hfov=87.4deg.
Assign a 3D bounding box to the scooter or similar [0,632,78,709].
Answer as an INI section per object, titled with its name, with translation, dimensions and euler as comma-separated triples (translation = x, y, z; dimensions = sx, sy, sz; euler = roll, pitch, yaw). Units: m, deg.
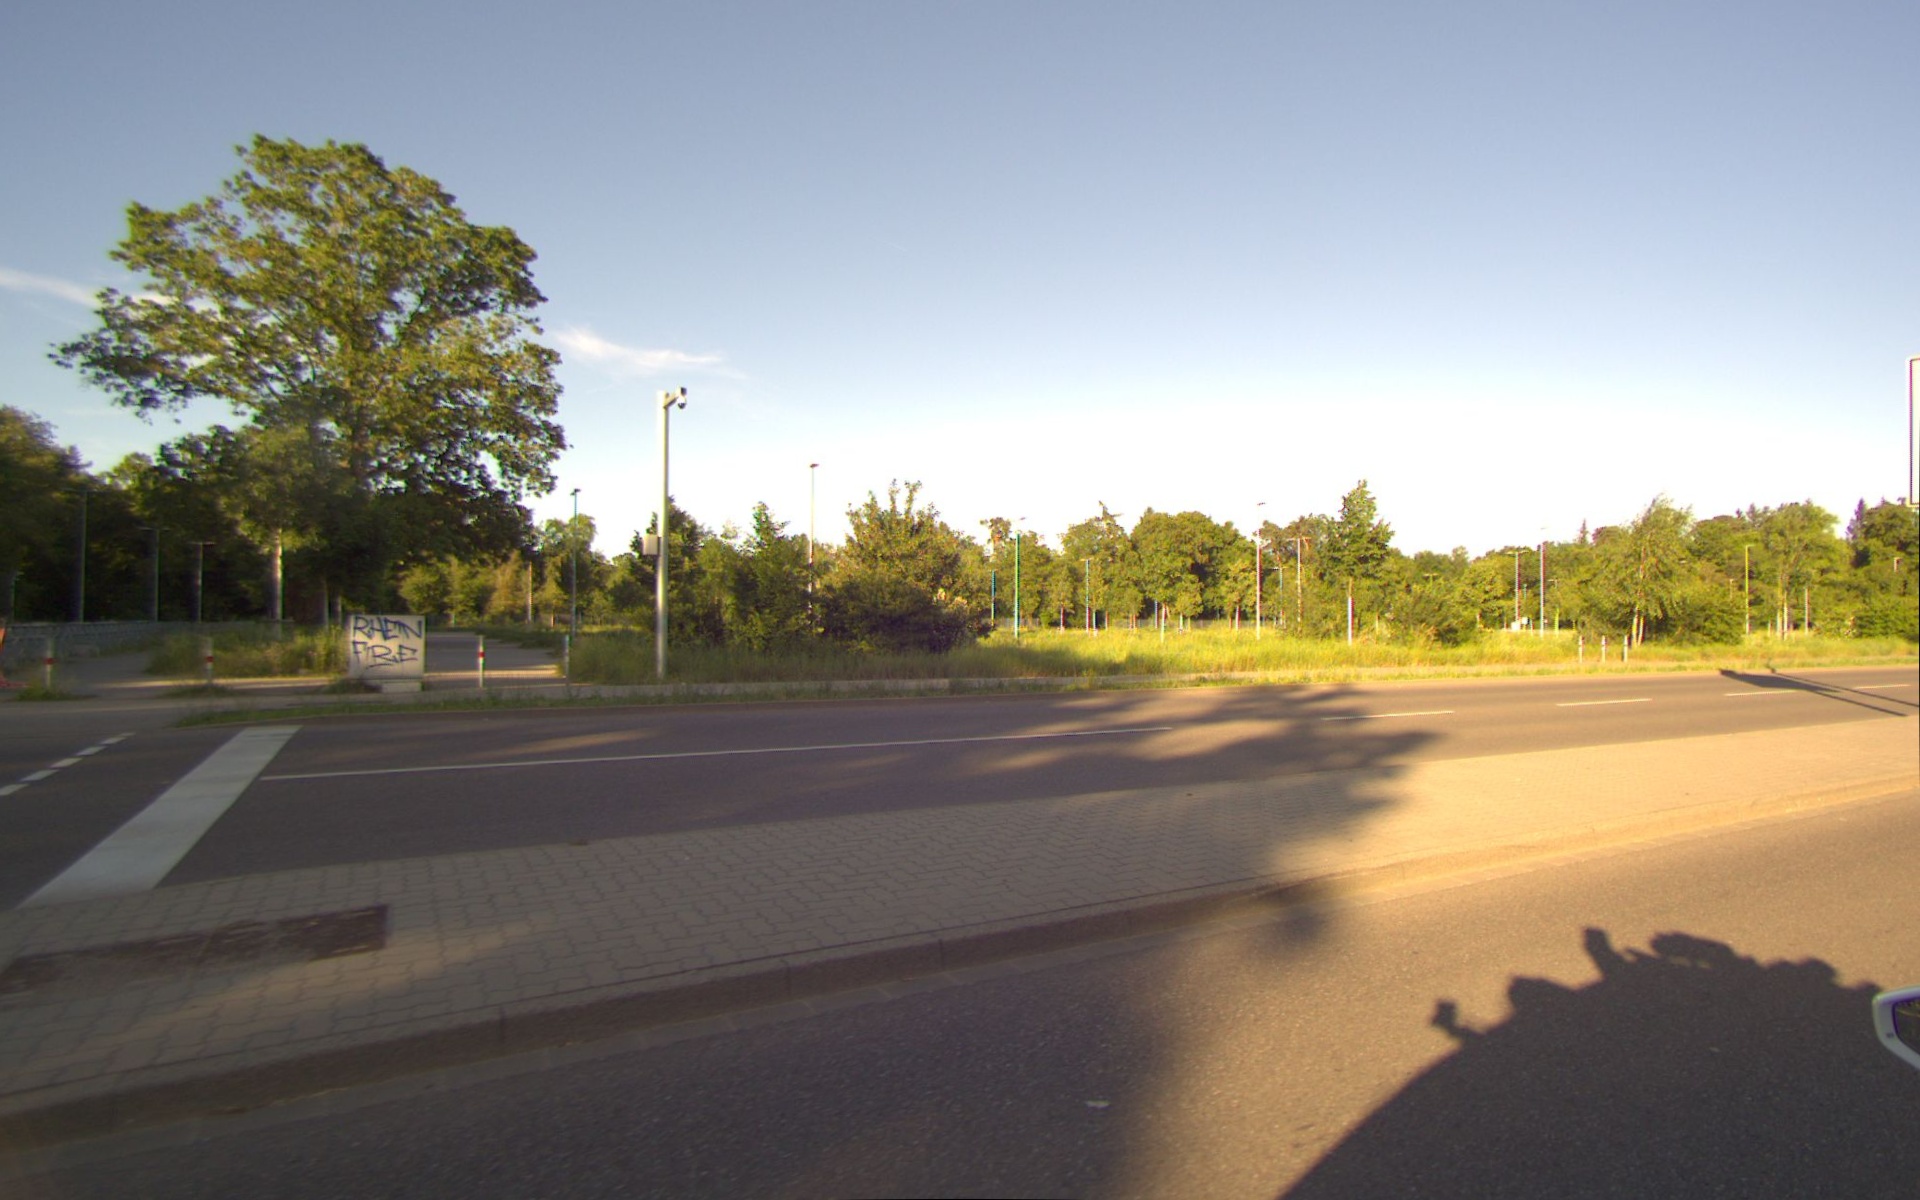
[scooter or similar]
translation = -15.433, 1.150, 16.470
dimensions = 1.337, 1.240, 0.511
euler = 1, -1, -16
